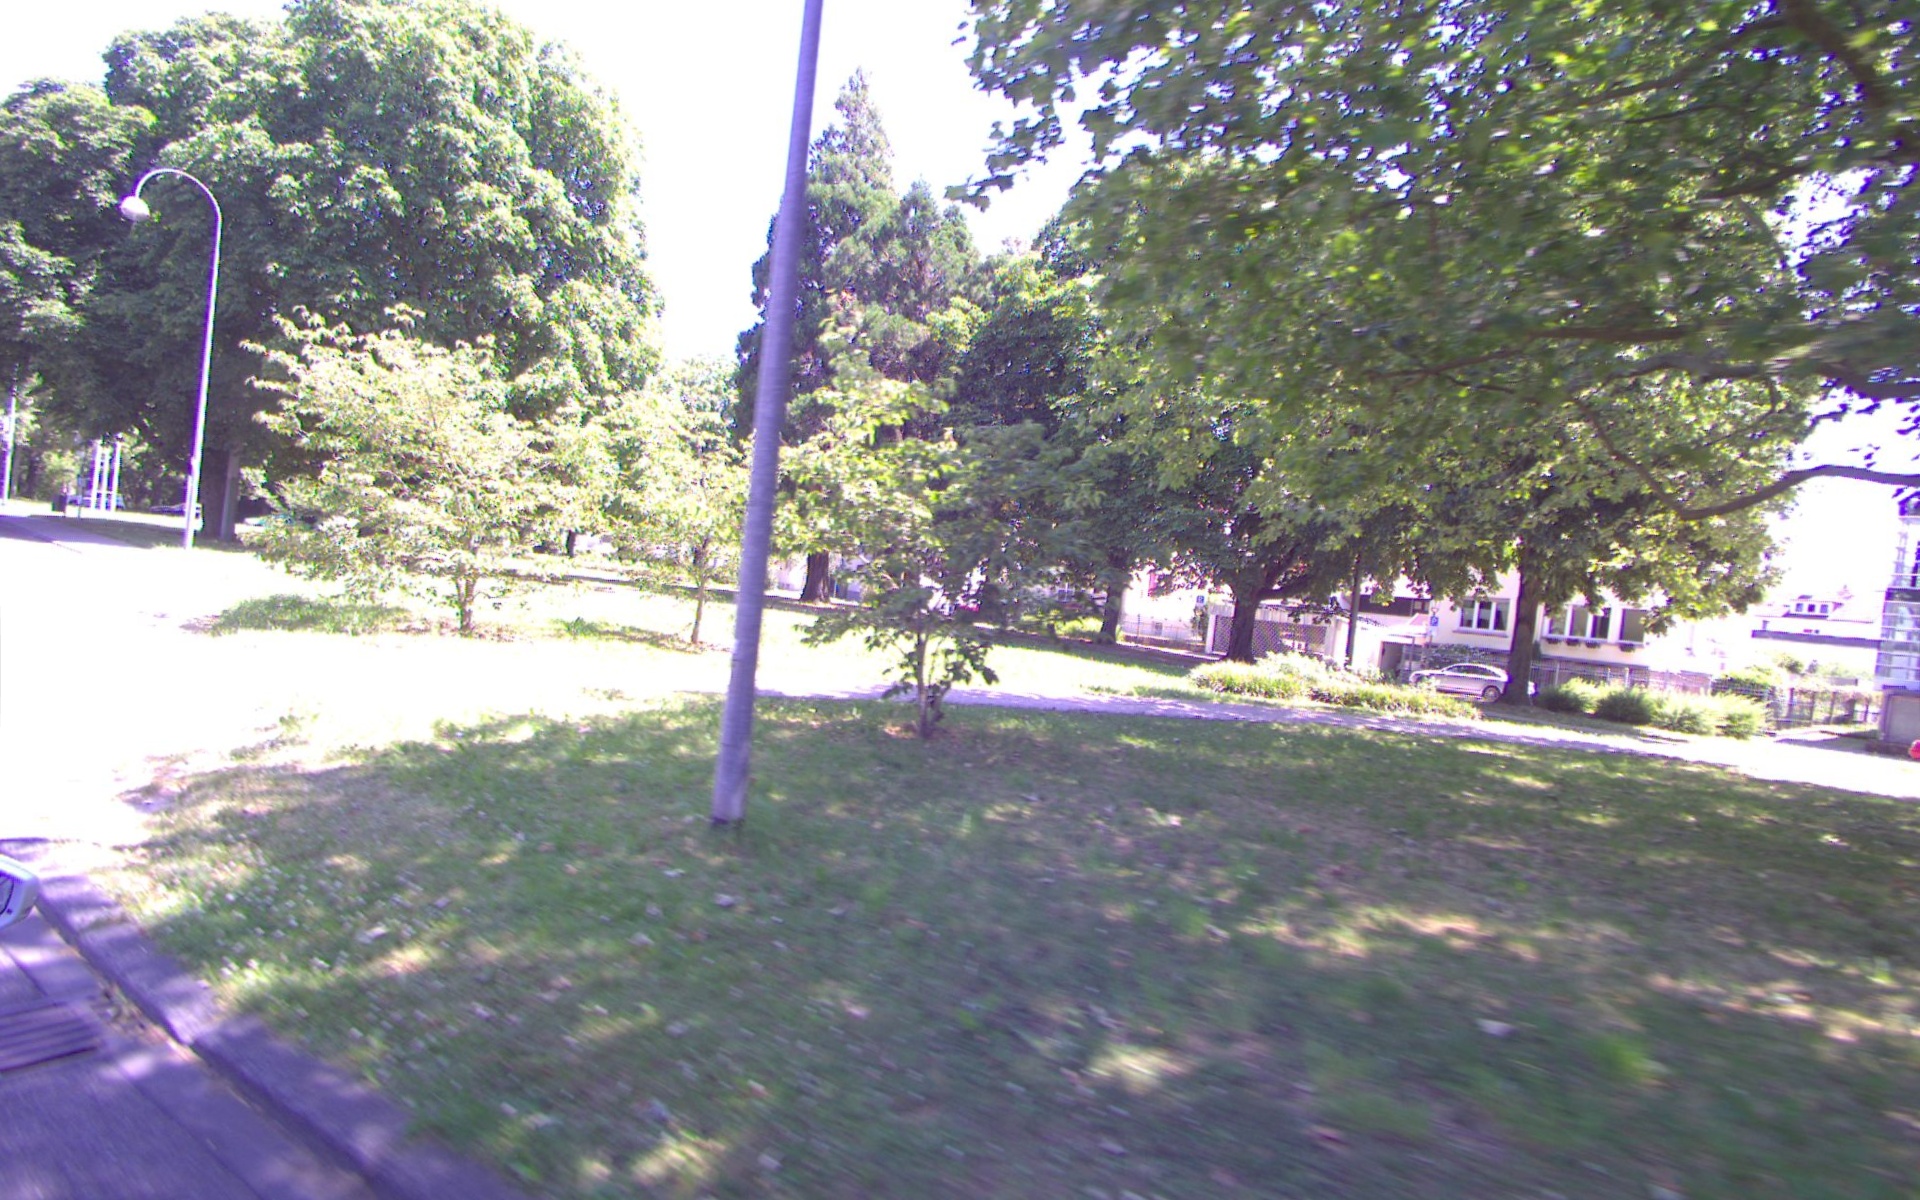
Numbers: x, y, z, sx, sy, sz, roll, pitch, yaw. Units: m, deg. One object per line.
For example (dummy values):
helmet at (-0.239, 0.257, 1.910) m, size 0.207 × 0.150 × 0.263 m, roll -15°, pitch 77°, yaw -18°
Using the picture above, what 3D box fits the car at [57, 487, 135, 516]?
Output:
car at (-63.466, -7.223, 73.913) m, size 1.973 × 1.484 × 4.096 m, roll 7°, pitch 1°, yaw 43°

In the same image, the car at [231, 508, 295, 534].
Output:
car at (-56.514, -6.373, 81.595) m, size 1.973 × 1.471 × 3.875 m, roll 6°, pitch -1°, yaw 42°

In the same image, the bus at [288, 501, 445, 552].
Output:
bus at (-54.543, -6.700, 93.015) m, size 2.235 × 3.014 × 12.368 m, roll 6°, pitch 0°, yaw 38°

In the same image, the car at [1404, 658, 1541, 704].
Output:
car at (20.924, 3.289, 41.265) m, size 1.656 × 1.304 × 4.666 m, roll 5°, pitch 0°, yaw -38°

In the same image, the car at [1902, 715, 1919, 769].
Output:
car at (29.719, 4.392, 28.639) m, size 1.741 × 1.542 × 3.956 m, roll 8°, pitch 0°, yaw -39°

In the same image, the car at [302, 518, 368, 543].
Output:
car at (-53.157, -5.919, 85.605) m, size 1.972 × 1.433 × 4.332 m, roll 6°, pitch -1°, yaw 41°

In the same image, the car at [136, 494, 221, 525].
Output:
car at (-59.834, -6.887, 77.075) m, size 1.974 × 1.628 × 4.811 m, roll 7°, pitch 1°, yaw 44°
